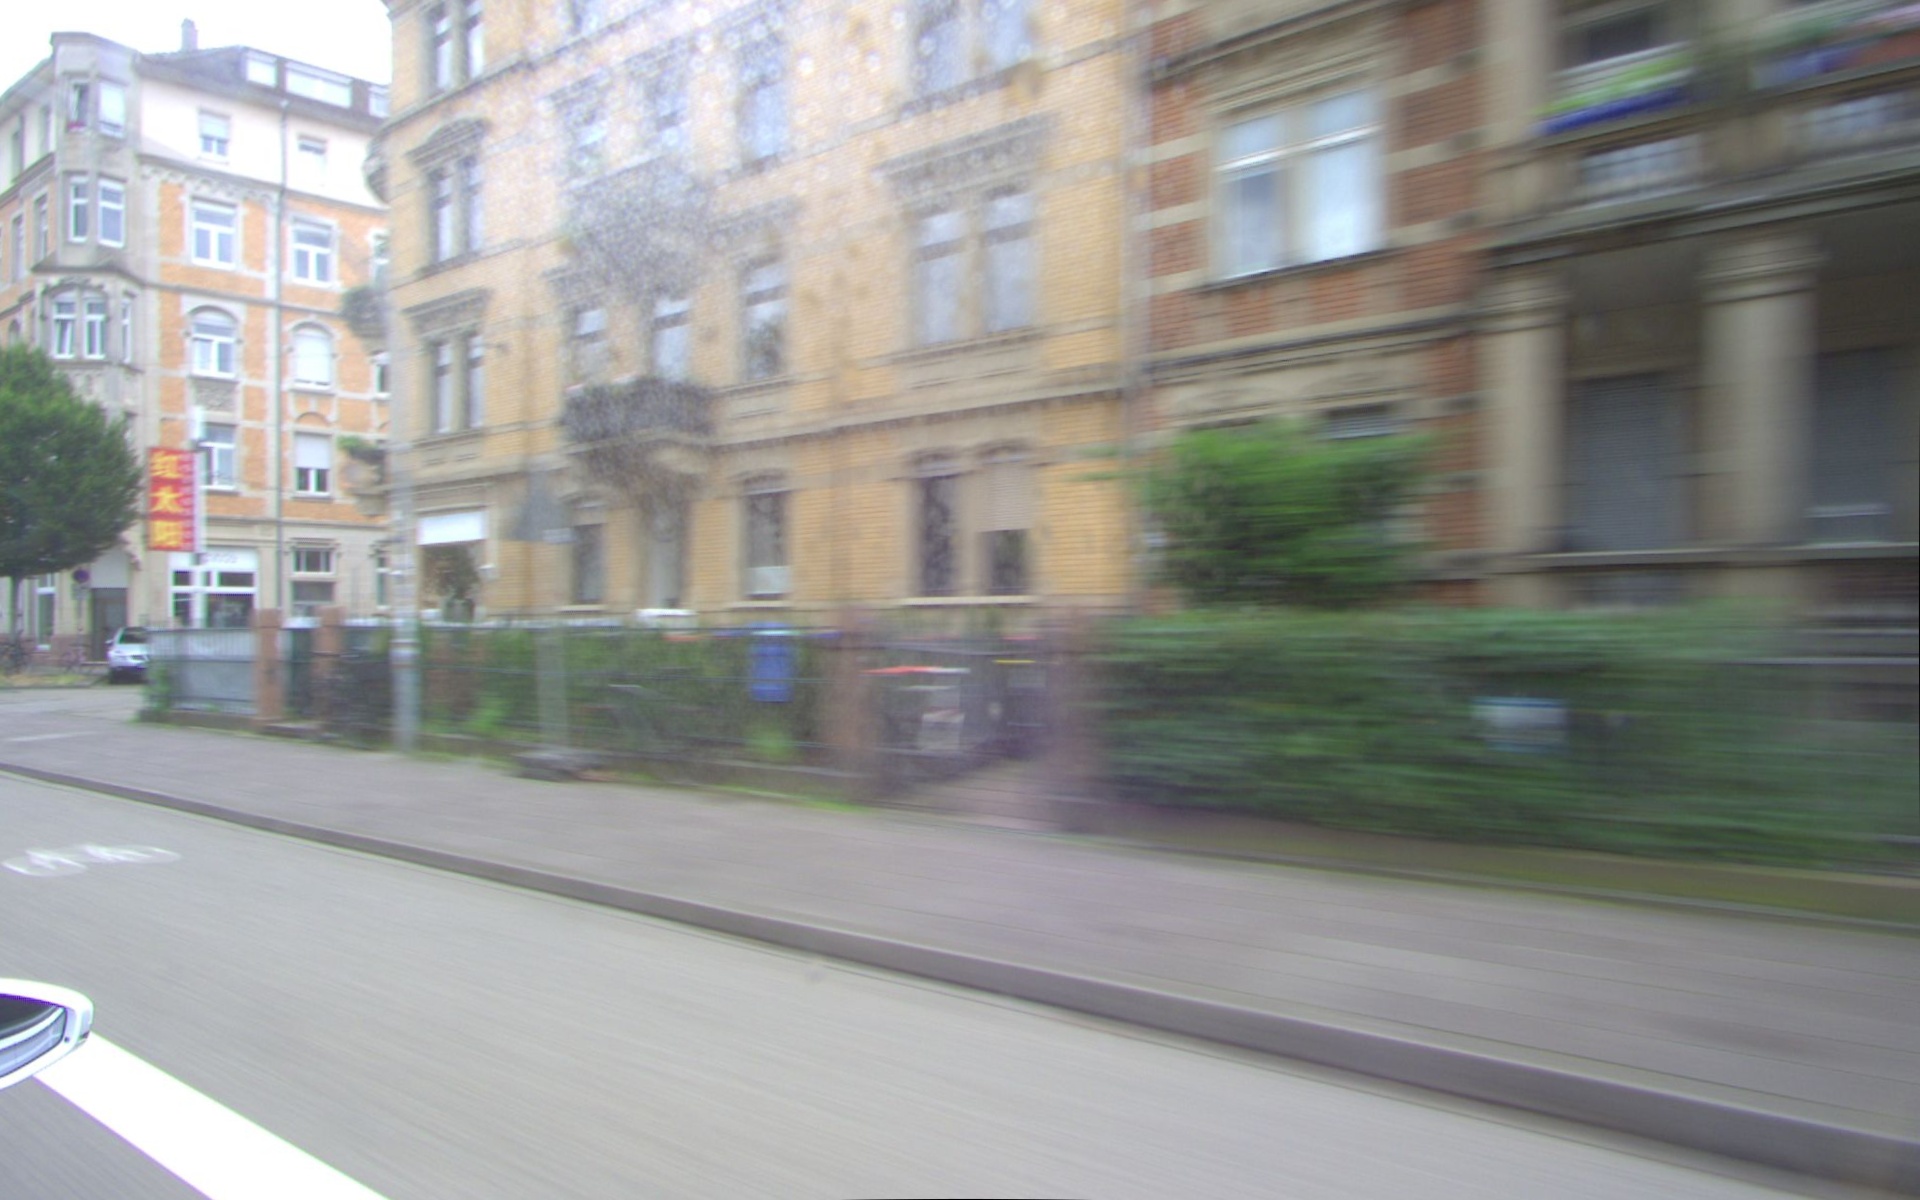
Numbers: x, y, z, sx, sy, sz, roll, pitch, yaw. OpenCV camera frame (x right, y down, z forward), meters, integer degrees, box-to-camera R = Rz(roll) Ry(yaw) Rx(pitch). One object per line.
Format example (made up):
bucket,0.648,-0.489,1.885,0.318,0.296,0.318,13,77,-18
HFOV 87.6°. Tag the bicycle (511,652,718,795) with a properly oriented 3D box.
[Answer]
bicycle,-3.153,1.060,9.042,2.145,1.114,0.522,-1,1,32

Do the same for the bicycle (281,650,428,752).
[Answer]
bicycle,-7.082,1.138,11.675,2.145,1.044,0.522,-1,2,32

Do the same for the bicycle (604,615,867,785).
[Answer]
bicycle,-2.463,0.991,10.799,2.921,1.623,0.989,-1,-2,32

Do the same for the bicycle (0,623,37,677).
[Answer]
bicycle,-27.830,1.446,29.533,0.784,1.526,2.360,1,-2,-41

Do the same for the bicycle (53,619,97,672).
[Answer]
bicycle,-26.541,1.358,30.062,0.910,1.526,2.360,1,-2,-41

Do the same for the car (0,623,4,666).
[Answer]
car,-32.218,1.371,30.798,1.871,1.379,3.967,-1,-2,42

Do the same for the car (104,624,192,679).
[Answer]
car,-23.985,1.484,29.599,1.895,1.503,4.135,2,-2,-39
